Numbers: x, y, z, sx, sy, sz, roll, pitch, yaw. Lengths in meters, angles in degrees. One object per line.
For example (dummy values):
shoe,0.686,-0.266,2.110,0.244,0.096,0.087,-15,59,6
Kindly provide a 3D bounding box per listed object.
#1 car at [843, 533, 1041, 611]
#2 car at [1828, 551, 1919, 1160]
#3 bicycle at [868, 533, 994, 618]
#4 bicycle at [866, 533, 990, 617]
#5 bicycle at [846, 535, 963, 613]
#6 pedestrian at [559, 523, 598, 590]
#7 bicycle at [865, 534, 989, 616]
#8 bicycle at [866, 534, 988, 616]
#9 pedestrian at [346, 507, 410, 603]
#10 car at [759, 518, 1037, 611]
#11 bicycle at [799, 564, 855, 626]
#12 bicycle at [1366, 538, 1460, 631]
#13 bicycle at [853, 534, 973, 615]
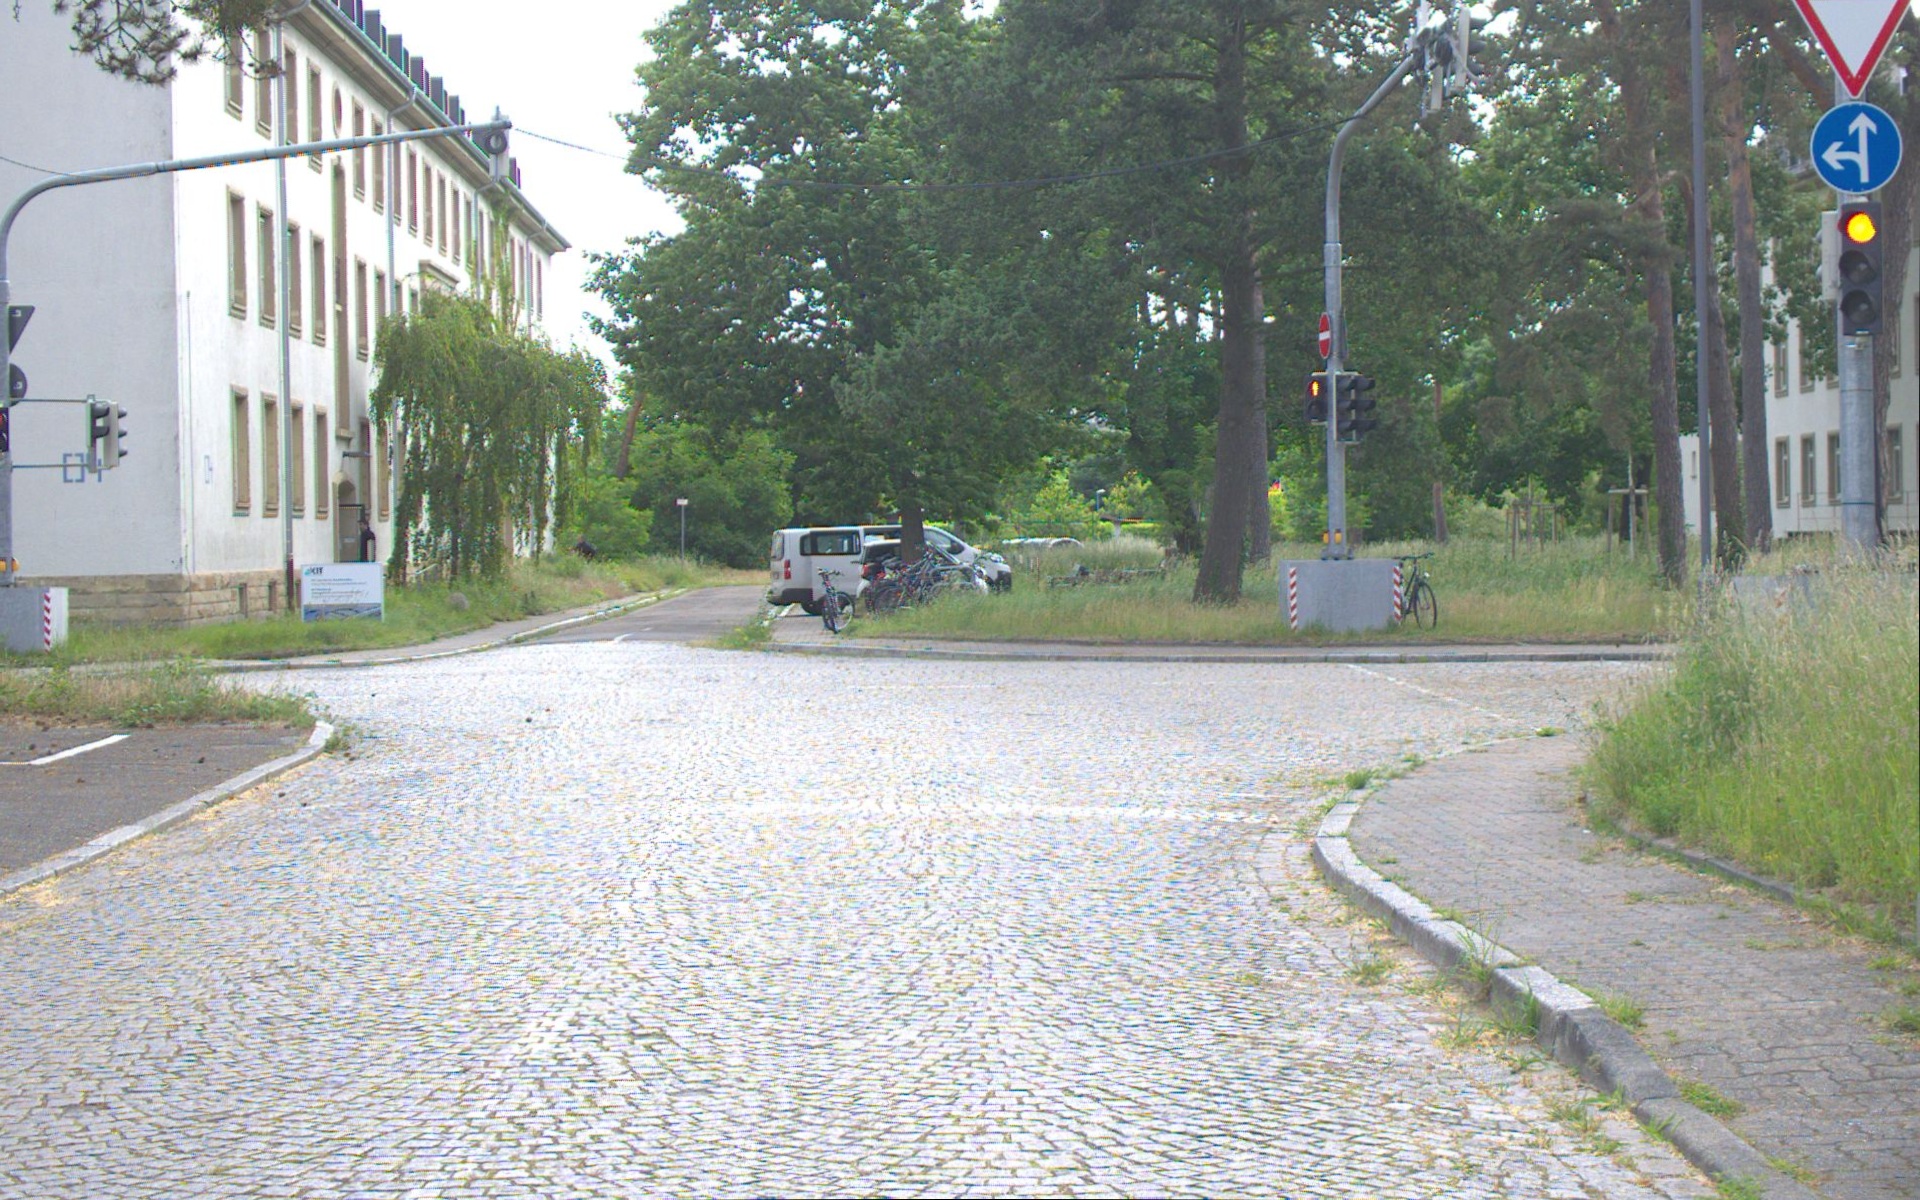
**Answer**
car,-0.391,-0.593,71.589,3.932,1.539,2.000,-1,1,-6
car,4.125,0.552,7.975,3.763,1.421,1.606,-2,1,-2
bicycle,-0.477,-0.412,57.066,2.070,1.373,0.620,-1,1,0
bicycle,-0.537,-0.420,57.736,2.070,1.373,0.620,-1,1,0
bicycle,-0.985,-0.465,61.437,2.070,1.373,0.620,-1,1,0
pedestrian,-11.565,-1.315,104.258,0.959,2.007,0.795,-1,1,9
bicycle,-0.555,-0.426,58.361,2.070,1.373,0.620,-1,1,0
bicycle,-0.566,-0.434,59.158,2.070,1.373,0.620,-1,1,0
pedestrian,-12.264,-0.945,72.422,1.087,2.007,1.021,-1,1,4
car,-1.367,-0.786,74.946,5.690,1.904,2.231,-1,1,-13
bicycle,-2.128,-0.088,55.254,0.618,0.960,2.076,-1,1,6
bicycle,5.900,-0.211,44.872,0.908,1.173,1.874,-1,1,-2
bicycle,-0.812,-0.449,59.953,2.070,1.373,0.620,-1,1,0
